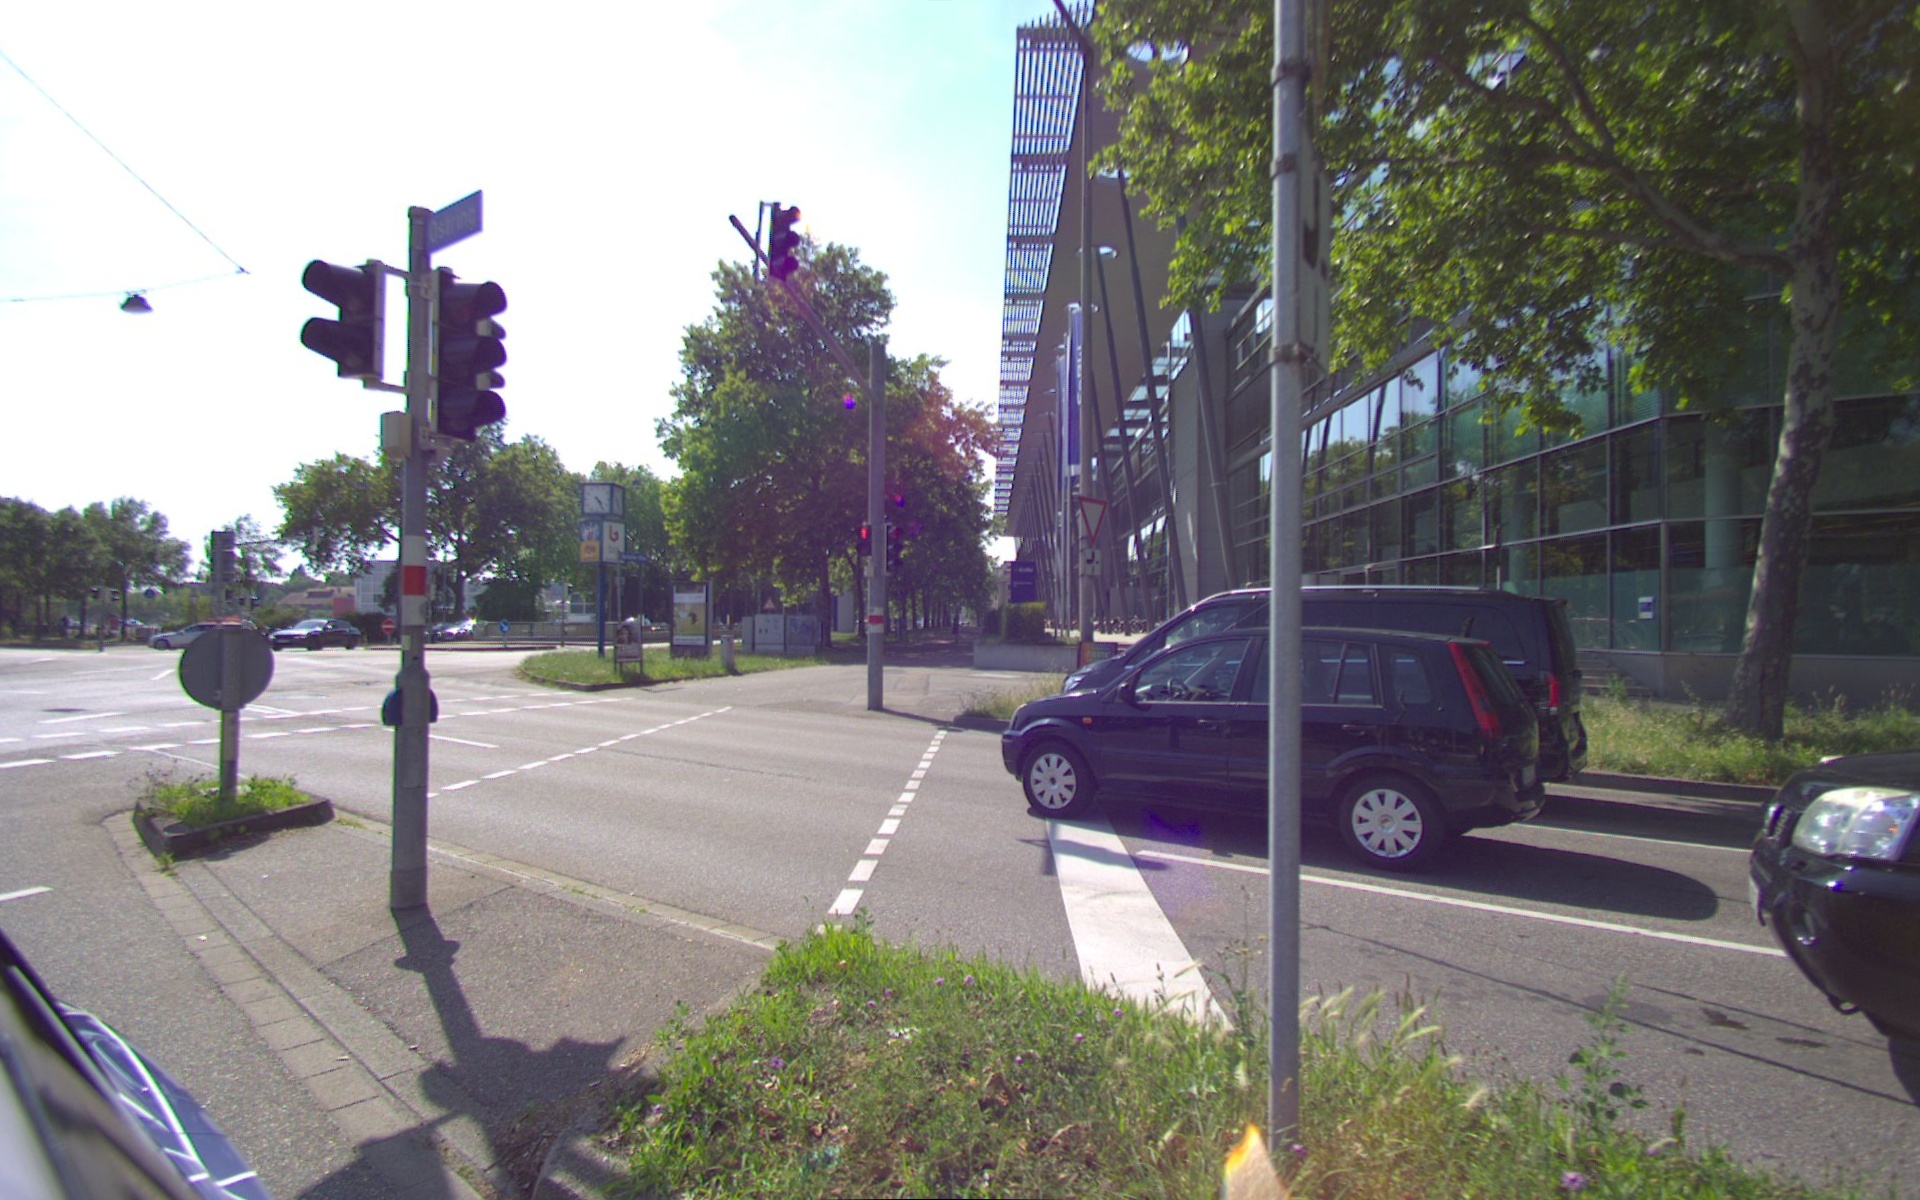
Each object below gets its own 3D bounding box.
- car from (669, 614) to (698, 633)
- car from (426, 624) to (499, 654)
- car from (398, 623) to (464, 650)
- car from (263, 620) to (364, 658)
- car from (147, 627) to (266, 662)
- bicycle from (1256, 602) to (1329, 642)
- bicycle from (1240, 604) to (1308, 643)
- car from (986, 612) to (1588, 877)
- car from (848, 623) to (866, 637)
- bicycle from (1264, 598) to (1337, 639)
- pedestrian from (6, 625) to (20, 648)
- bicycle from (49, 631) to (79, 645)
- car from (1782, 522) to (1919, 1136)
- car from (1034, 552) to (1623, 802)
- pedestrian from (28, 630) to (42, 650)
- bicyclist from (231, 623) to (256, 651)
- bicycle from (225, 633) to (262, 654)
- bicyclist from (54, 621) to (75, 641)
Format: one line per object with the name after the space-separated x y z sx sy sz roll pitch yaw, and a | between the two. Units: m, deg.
-30.327 2.580 111.147 1.850 1.952 3.994 0 -1 5 | car
-29.646 2.271 60.451 1.974 1.722 4.425 0 -1 4 | car
-32.577 2.231 62.427 1.750 1.641 3.994 0 -1 4 | car
-29.799 1.796 46.788 1.797 1.626 3.991 -2 -2 7 | car
-42.356 2.514 57.054 5.075 1.737 2.006 -1 -2 -26 | car
9.552 0.639 29.110 1.859 1.119 0.739 0 -2 -1 | bicycle
9.322 0.701 30.059 1.774 1.119 0.739 0 -2 -1 | bicycle
2.300 0.864 7.593 3.951 1.487 1.745 -1 -2 37 | car
-12.913 3.838 127.162 1.877 1.652 3.999 -2 -2 0 | car
9.511 0.518 28.311 1.774 1.119 0.739 0 -2 -1 | bicycle
-71.788 2.760 76.712 0.766 1.722 0.623 -2 -2 36 | pedestrian
-66.067 2.791 74.602 2.762 1.067 0.875 -1 -2 31 | bicycle
4.749 0.593 2.182 4.482 1.627 1.791 -1 -2 36 | car
3.464 0.699 10.188 5.219 1.934 1.920 -2 -3 37 | car
-69.930 3.034 76.497 0.878 1.536 0.571 -2 -2 36 | pedestrian
-37.517 1.917 53.005 0.918 1.447 0.765 -1 -2 33 | bicyclist
-37.517 2.260 52.981 2.394 1.061 0.765 -1 -2 33 | bicycle
-65.991 2.307 74.574 0.962 1.454 0.875 -1 -2 30 | bicyclist
